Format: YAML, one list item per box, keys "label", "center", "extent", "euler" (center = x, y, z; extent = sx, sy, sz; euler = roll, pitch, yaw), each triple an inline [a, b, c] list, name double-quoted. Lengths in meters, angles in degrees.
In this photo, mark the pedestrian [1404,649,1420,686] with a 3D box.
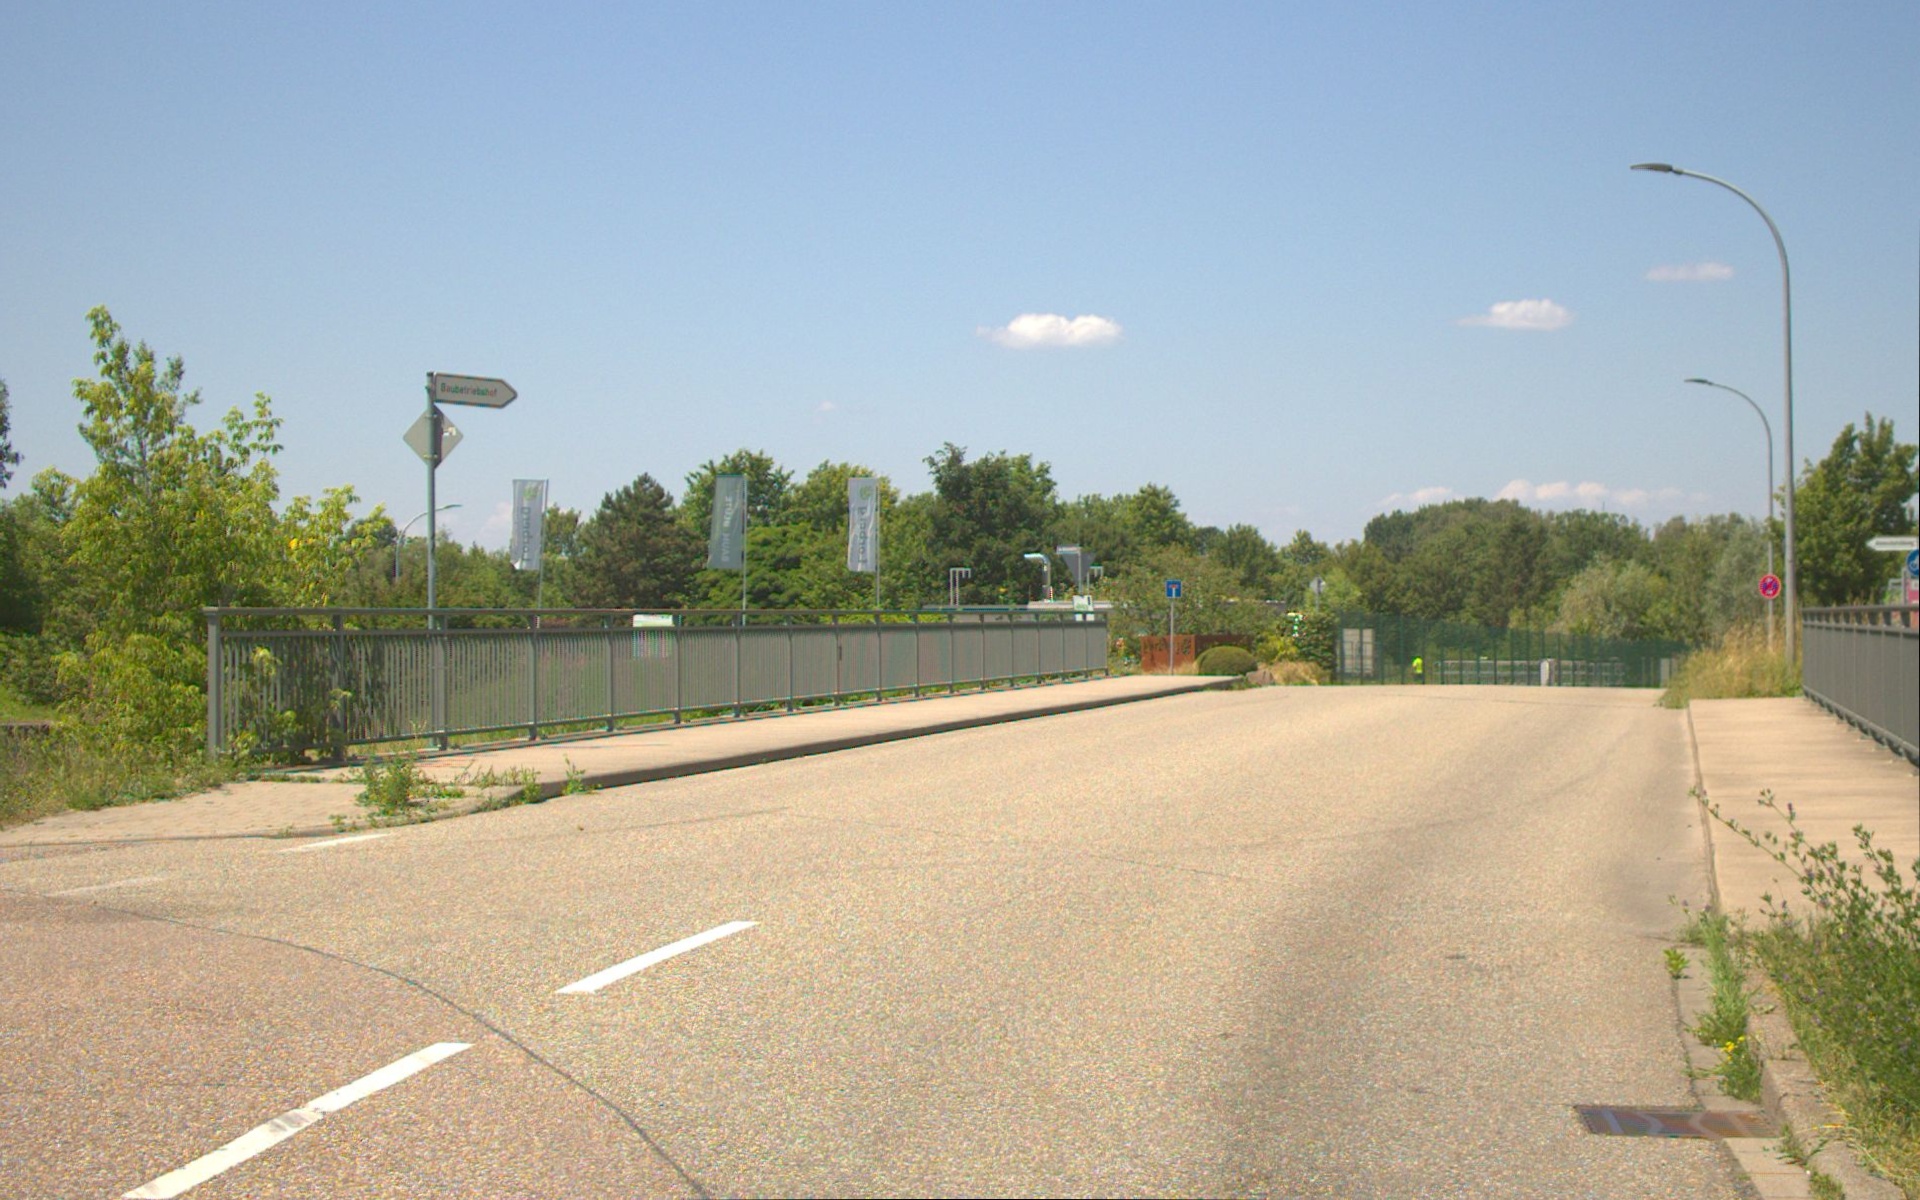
- label: "pedestrian"
  center: [22.107, 3.302, 168.107]
  extent: [0.606, 1.833, 0.804]
  euler: [-1, -2, 20]
